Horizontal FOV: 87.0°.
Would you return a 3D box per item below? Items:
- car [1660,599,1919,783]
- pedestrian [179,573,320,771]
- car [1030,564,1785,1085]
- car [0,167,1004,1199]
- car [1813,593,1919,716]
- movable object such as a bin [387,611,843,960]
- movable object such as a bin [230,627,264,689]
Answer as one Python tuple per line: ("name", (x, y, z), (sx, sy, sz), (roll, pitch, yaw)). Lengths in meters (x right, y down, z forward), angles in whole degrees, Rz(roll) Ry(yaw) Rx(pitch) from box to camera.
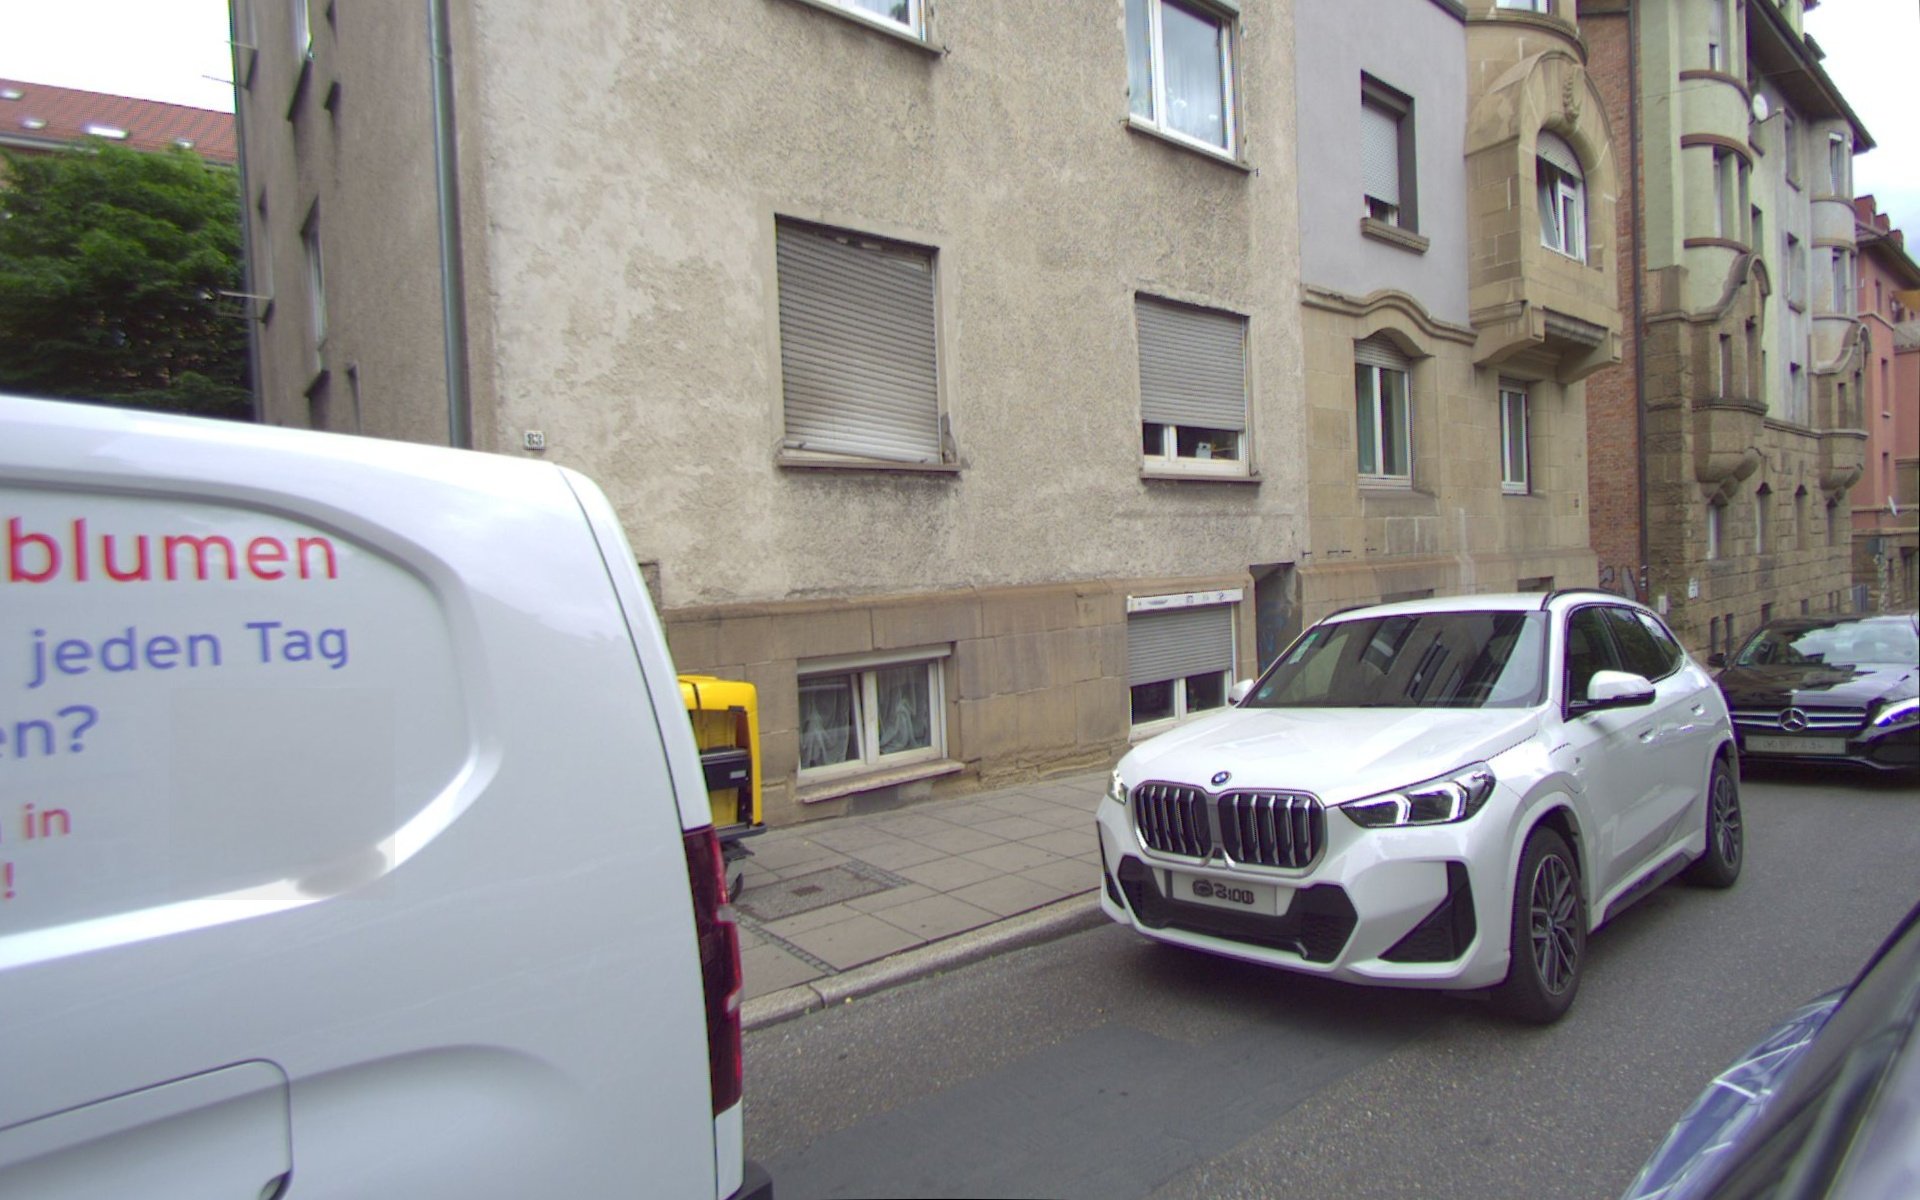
("car", (8.456, 0.727, 9.655), (4.133, 1.395, 1.882), (-1, -3, -41))
("pedestrian", (-6.540, 0.616, 9.321), (0.808, 1.666, 0.773), (0, 6, 42))
("car", (2.554, 0.718, 5.211), (4.276, 1.576, 1.857), (-1, -4, -42))
("car", (-2.295, 0.564, 0.902), (4.597, 1.798, 1.977), (-1, -3, -42))
("car", (13.547, 0.655, 13.939), (4.226, 1.534, 1.935), (-1, -3, -40))
("movable object such as a bin", (-1.785, 0.792, 5.379), (1.979, 1.391, 1.223), (-1, 2, -43))
("movable object such as a bin", (-10.984, 0.885, 15.585), (0.405, 0.923, 0.340), (0, 0, -40))
